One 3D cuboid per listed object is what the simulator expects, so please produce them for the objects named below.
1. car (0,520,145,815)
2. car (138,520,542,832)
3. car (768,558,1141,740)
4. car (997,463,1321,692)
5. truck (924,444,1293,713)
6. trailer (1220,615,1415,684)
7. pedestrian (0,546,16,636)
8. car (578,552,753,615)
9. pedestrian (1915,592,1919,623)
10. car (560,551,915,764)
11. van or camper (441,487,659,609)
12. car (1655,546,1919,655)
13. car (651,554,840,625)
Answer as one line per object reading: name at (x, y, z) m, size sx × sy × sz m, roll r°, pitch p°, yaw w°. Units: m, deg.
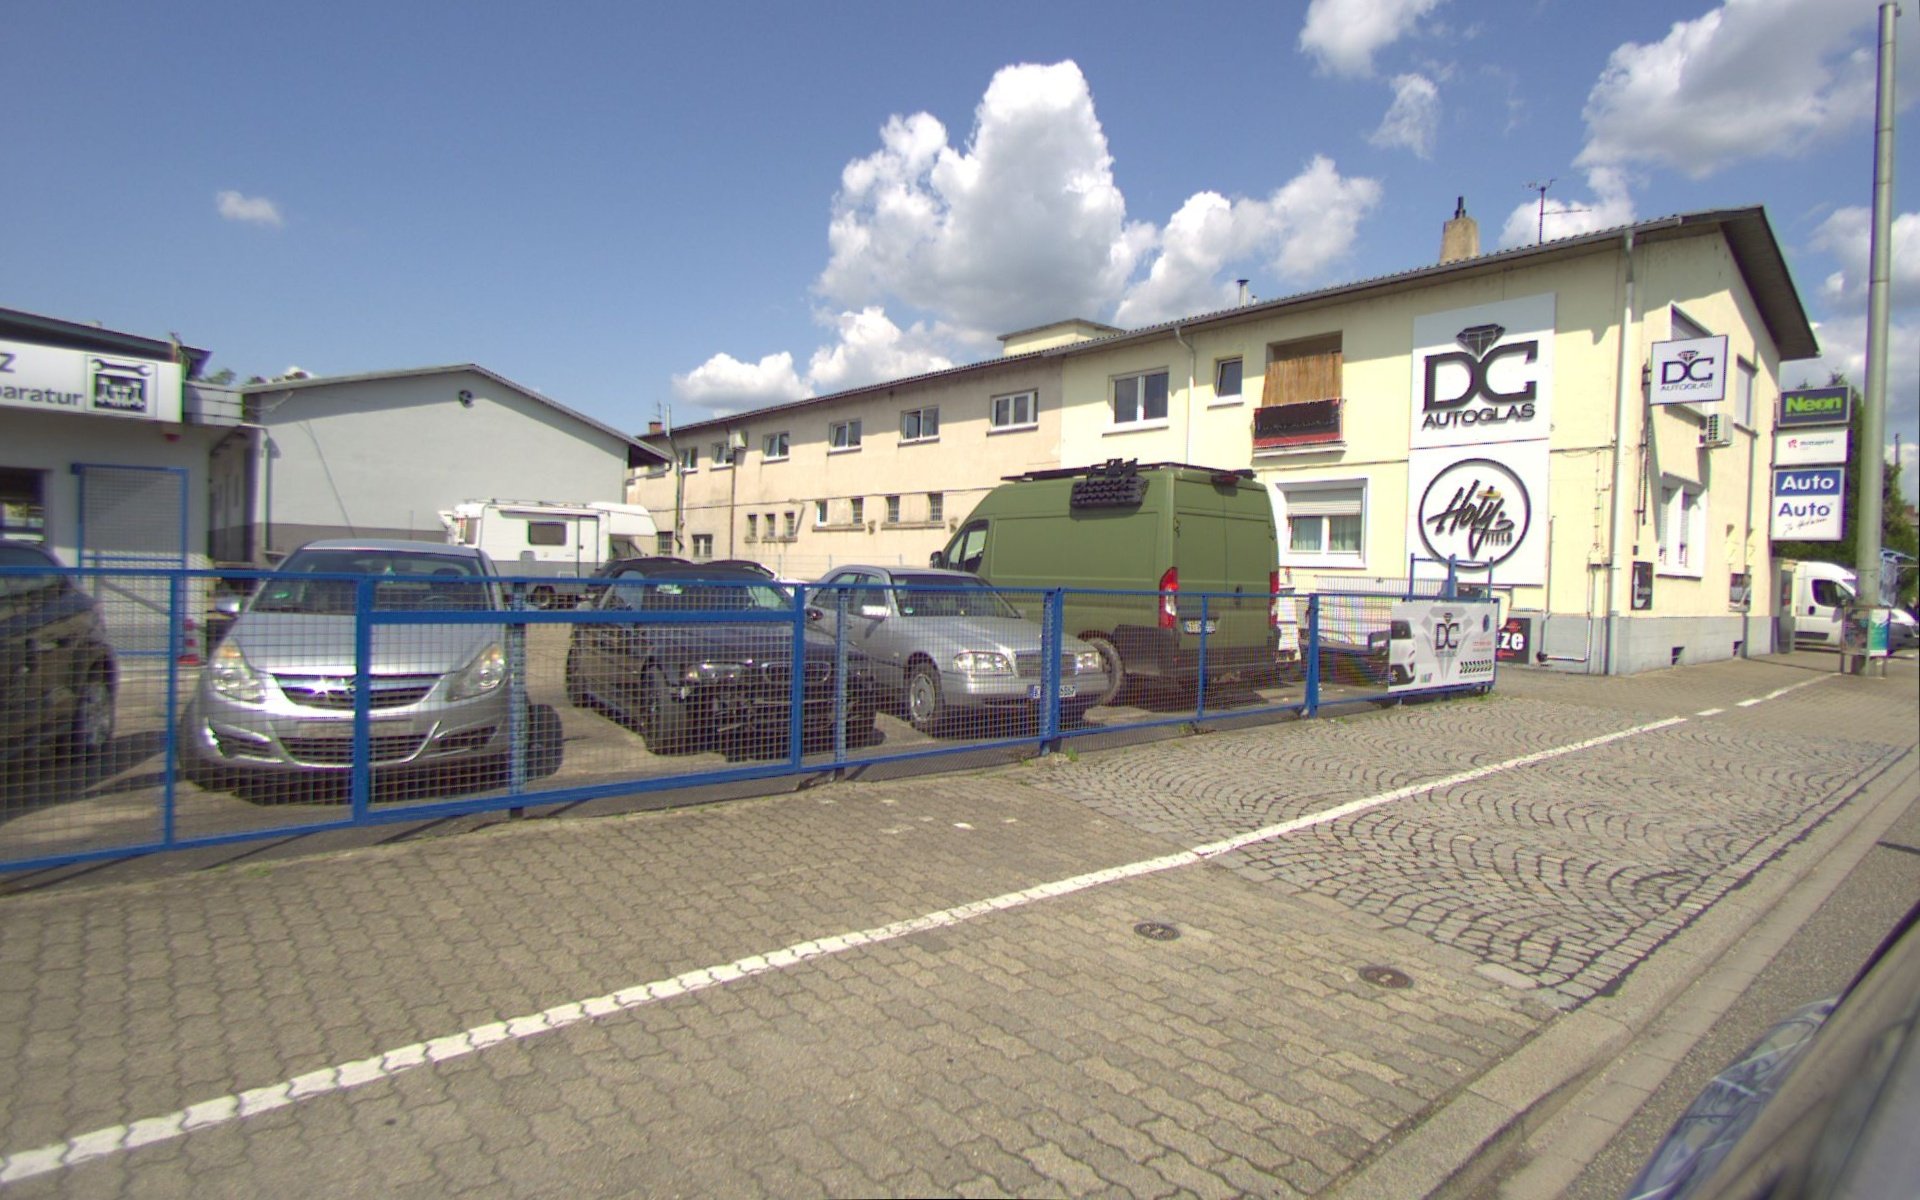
car at (-5.746, 0.323, 5.036) m, size 1.685 × 1.497 × 4.012 m, roll 1°, pitch 2°, yaw -25°
car at (-3.950, 0.301, 7.104) m, size 1.766 × 1.497 × 4.158 m, roll 1°, pitch 2°, yaw -24°
car at (-0.295, 0.319, 10.207) m, size 1.768 × 1.413 × 4.216 m, roll 1°, pitch 2°, yaw -33°
car at (2.613, -0.346, 14.145) m, size 1.771 × 2.702 × 4.208 m, roll 1°, pitch 2°, yaw -40°
truck at (1.624, -0.286, 12.147) m, size 2.033 × 2.639 × 3.996 m, roll 1°, pitch 2°, yaw -40°
trailer at (5.083, 0.669, 14.530) m, size 1.245 × 0.776 × 2.330 m, roll 0°, pitch 2°, yaw -39°
pedestrian at (-13.258, -0.130, 13.843) m, size 0.479 × 1.228 × 0.501 m, roll 1°, pitch 1°, yaw -42°
car at (-7.478, -0.412, 25.891) m, size 3.939 × 1.497 × 1.719 m, roll 0°, pitch 2°, yaw -41°
pedestrian at (50.345, 0.419, 52.679) m, size 0.902 × 1.606 × 0.816 m, roll 1°, pitch 1°, yaw -41°
car at (-2.124, 0.309, 8.748) m, size 1.768 × 1.403 × 3.837 m, roll 1°, pitch 2°, yaw -32°
van or camper at (-11.007, -1.326, 27.370) m, size 4.971 × 2.999 × 2.284 m, roll 0°, pitch 2°, yaw -42°
car at (22.715, -0.084, 27.411) m, size 1.963 × 2.404 × 5.989 m, roll 1°, pitch 5°, yaw -38°
car at (-4.925, -0.248, 23.521) m, size 3.939 × 1.497 × 1.719 m, roll 0°, pitch 2°, yaw -41°
